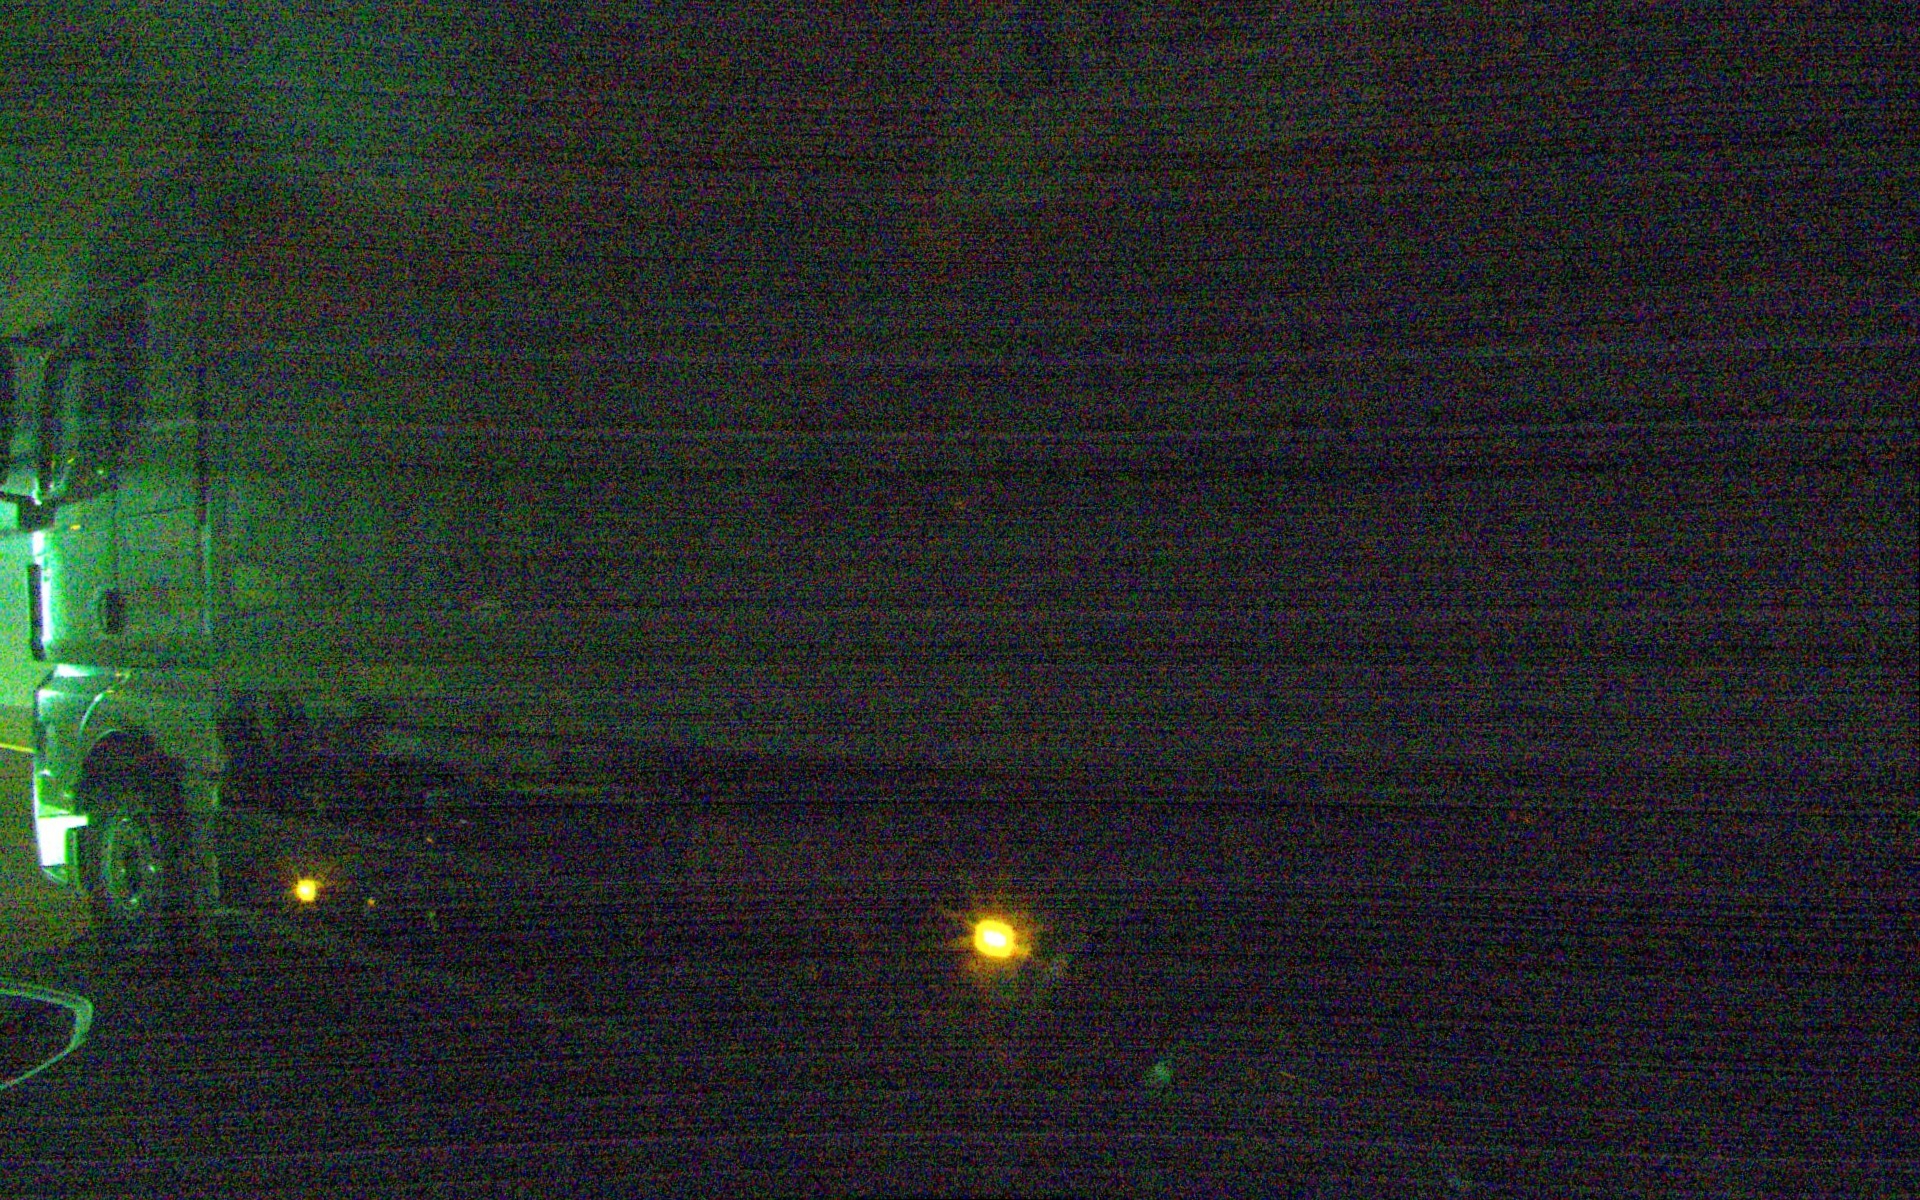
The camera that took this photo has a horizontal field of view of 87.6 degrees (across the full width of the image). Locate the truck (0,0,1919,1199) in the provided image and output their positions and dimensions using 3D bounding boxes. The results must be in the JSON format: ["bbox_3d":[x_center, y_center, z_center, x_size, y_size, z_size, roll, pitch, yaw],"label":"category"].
[{"bbox_3d":[0.083,-0.495,3.386,9.764,3.963,2.885,-1,-2,31],"label":"truck"}]
